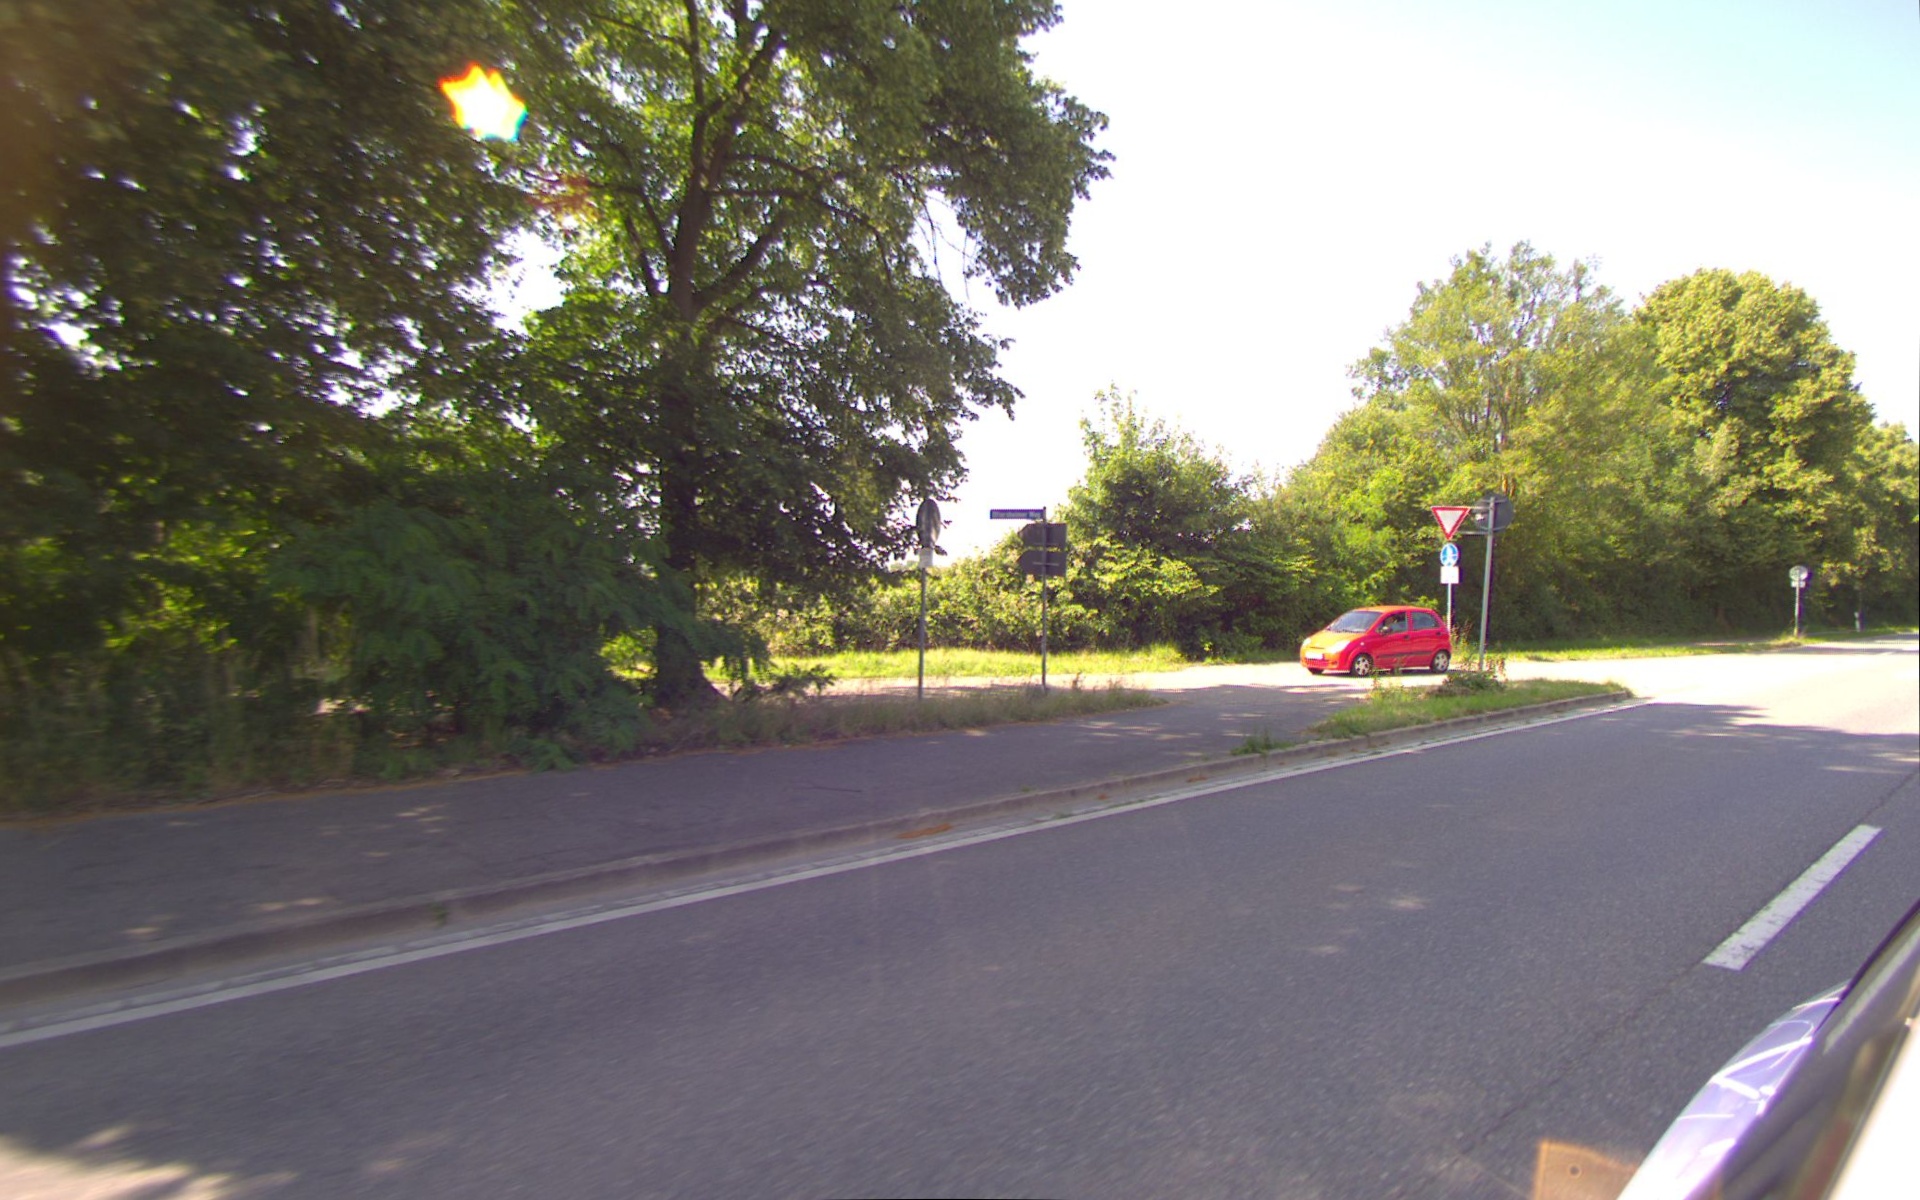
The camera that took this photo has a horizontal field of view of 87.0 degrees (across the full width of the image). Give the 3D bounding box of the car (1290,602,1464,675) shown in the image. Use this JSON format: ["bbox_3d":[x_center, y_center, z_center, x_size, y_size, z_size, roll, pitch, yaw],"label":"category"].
[{"bbox_3d":[9.214,0.799,22.373,3.494,1.471,1.553,0,1,-22],"label":"car"}]
